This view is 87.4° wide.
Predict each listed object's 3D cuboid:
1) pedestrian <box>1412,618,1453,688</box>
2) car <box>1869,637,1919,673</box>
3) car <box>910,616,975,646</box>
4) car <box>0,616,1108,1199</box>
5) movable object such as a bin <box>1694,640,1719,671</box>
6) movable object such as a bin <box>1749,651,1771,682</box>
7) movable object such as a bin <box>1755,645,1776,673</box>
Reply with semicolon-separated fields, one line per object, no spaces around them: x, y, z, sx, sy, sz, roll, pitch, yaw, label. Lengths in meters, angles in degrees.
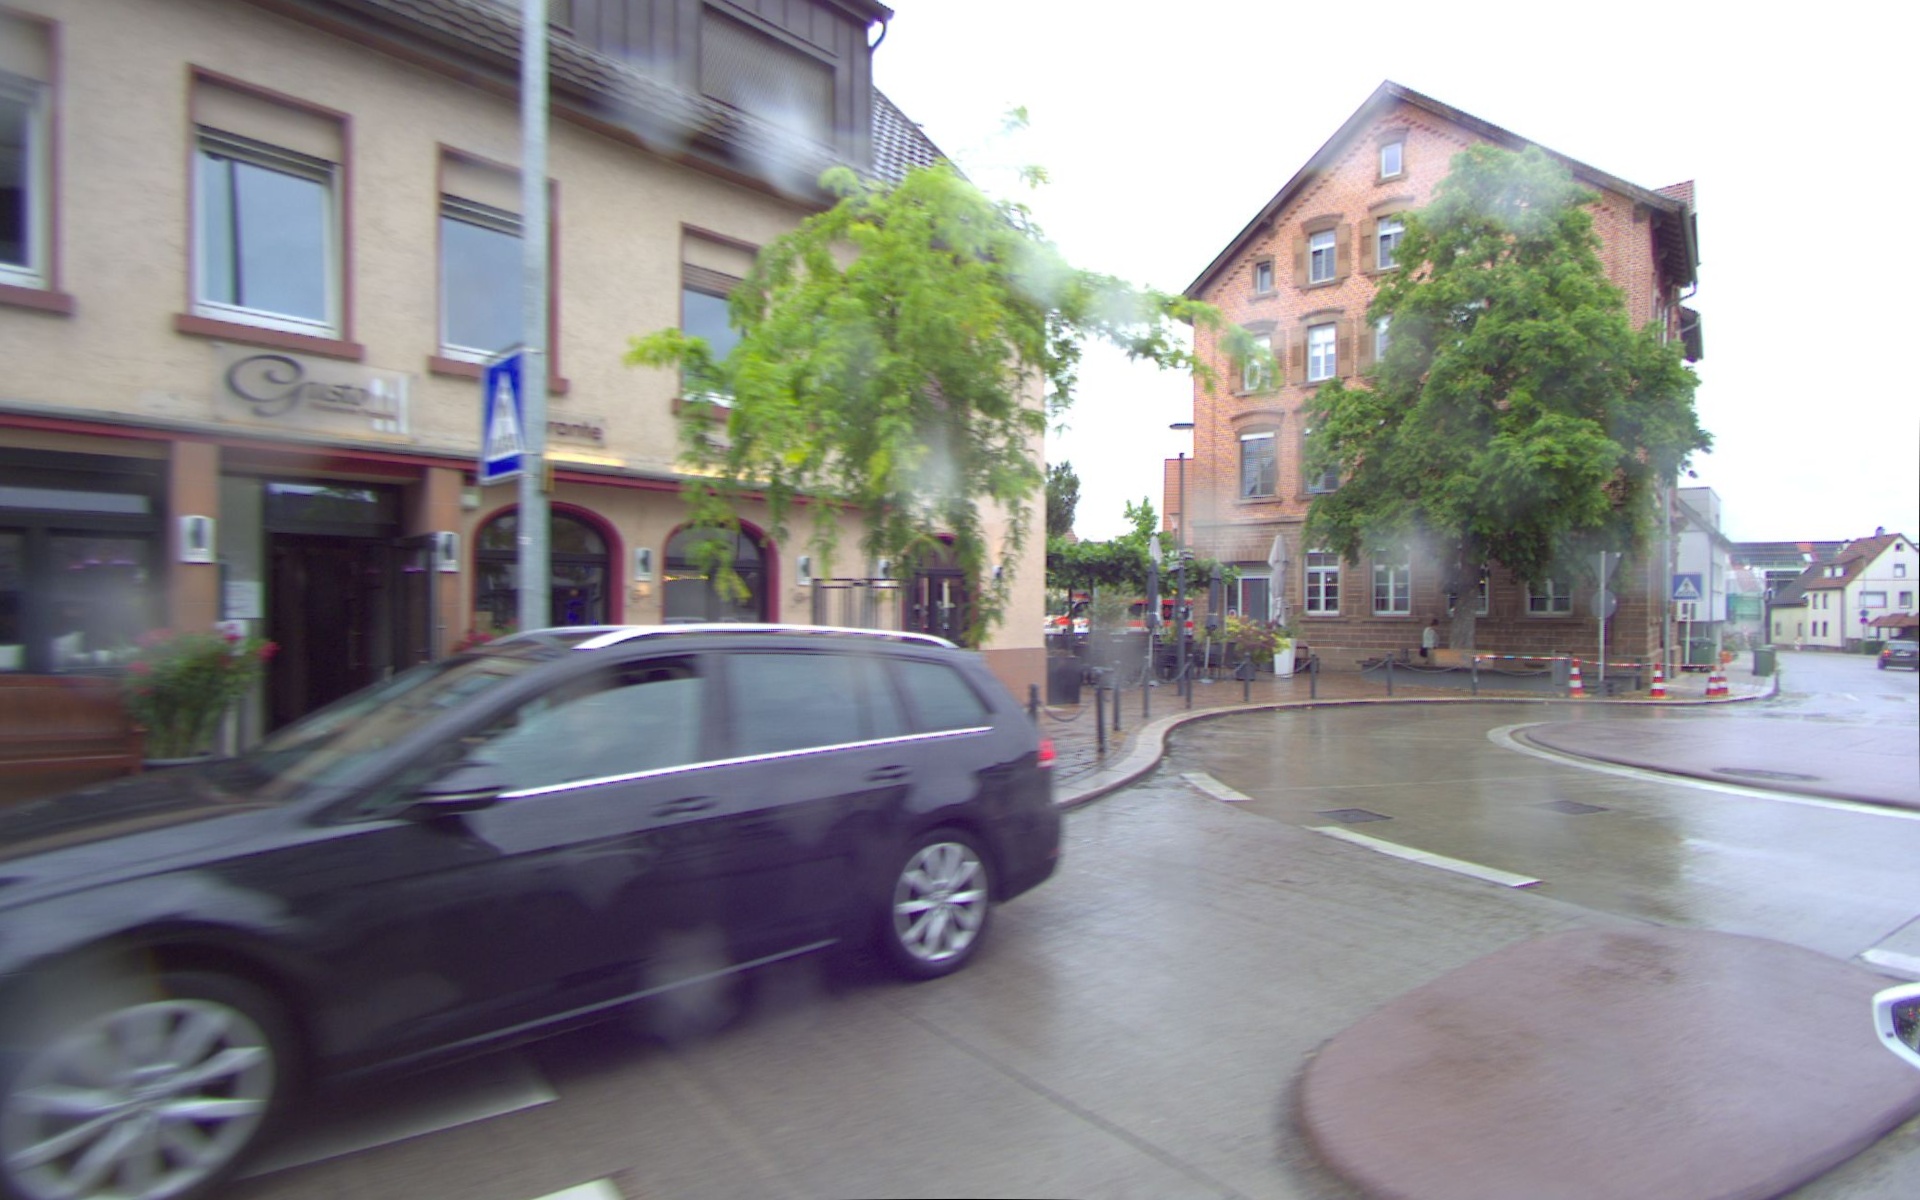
13.365;1.487;28.424;0.830;1.911;0.821;2;0;39;pedestrian
48.613;2.854;52.106;1.949;1.701;4.051;1;-2;39;car
-0.997;1.662;54.603;1.853;1.461;3.969;3;-2;-29;car
-1.462;0.807;3.851;4.438;1.449;1.649;1;-1;-44;car
29.696;2.207;39.959;0.738;1.184;0.630;2;0;35;movable object such as a bin
32.032;2.671;40.236;0.618;1.188;0.759;2;0;35;movable object such as a bin
35.306;2.585;44.043;0.646;1.184;0.779;2;0;35;movable object such as a bin
